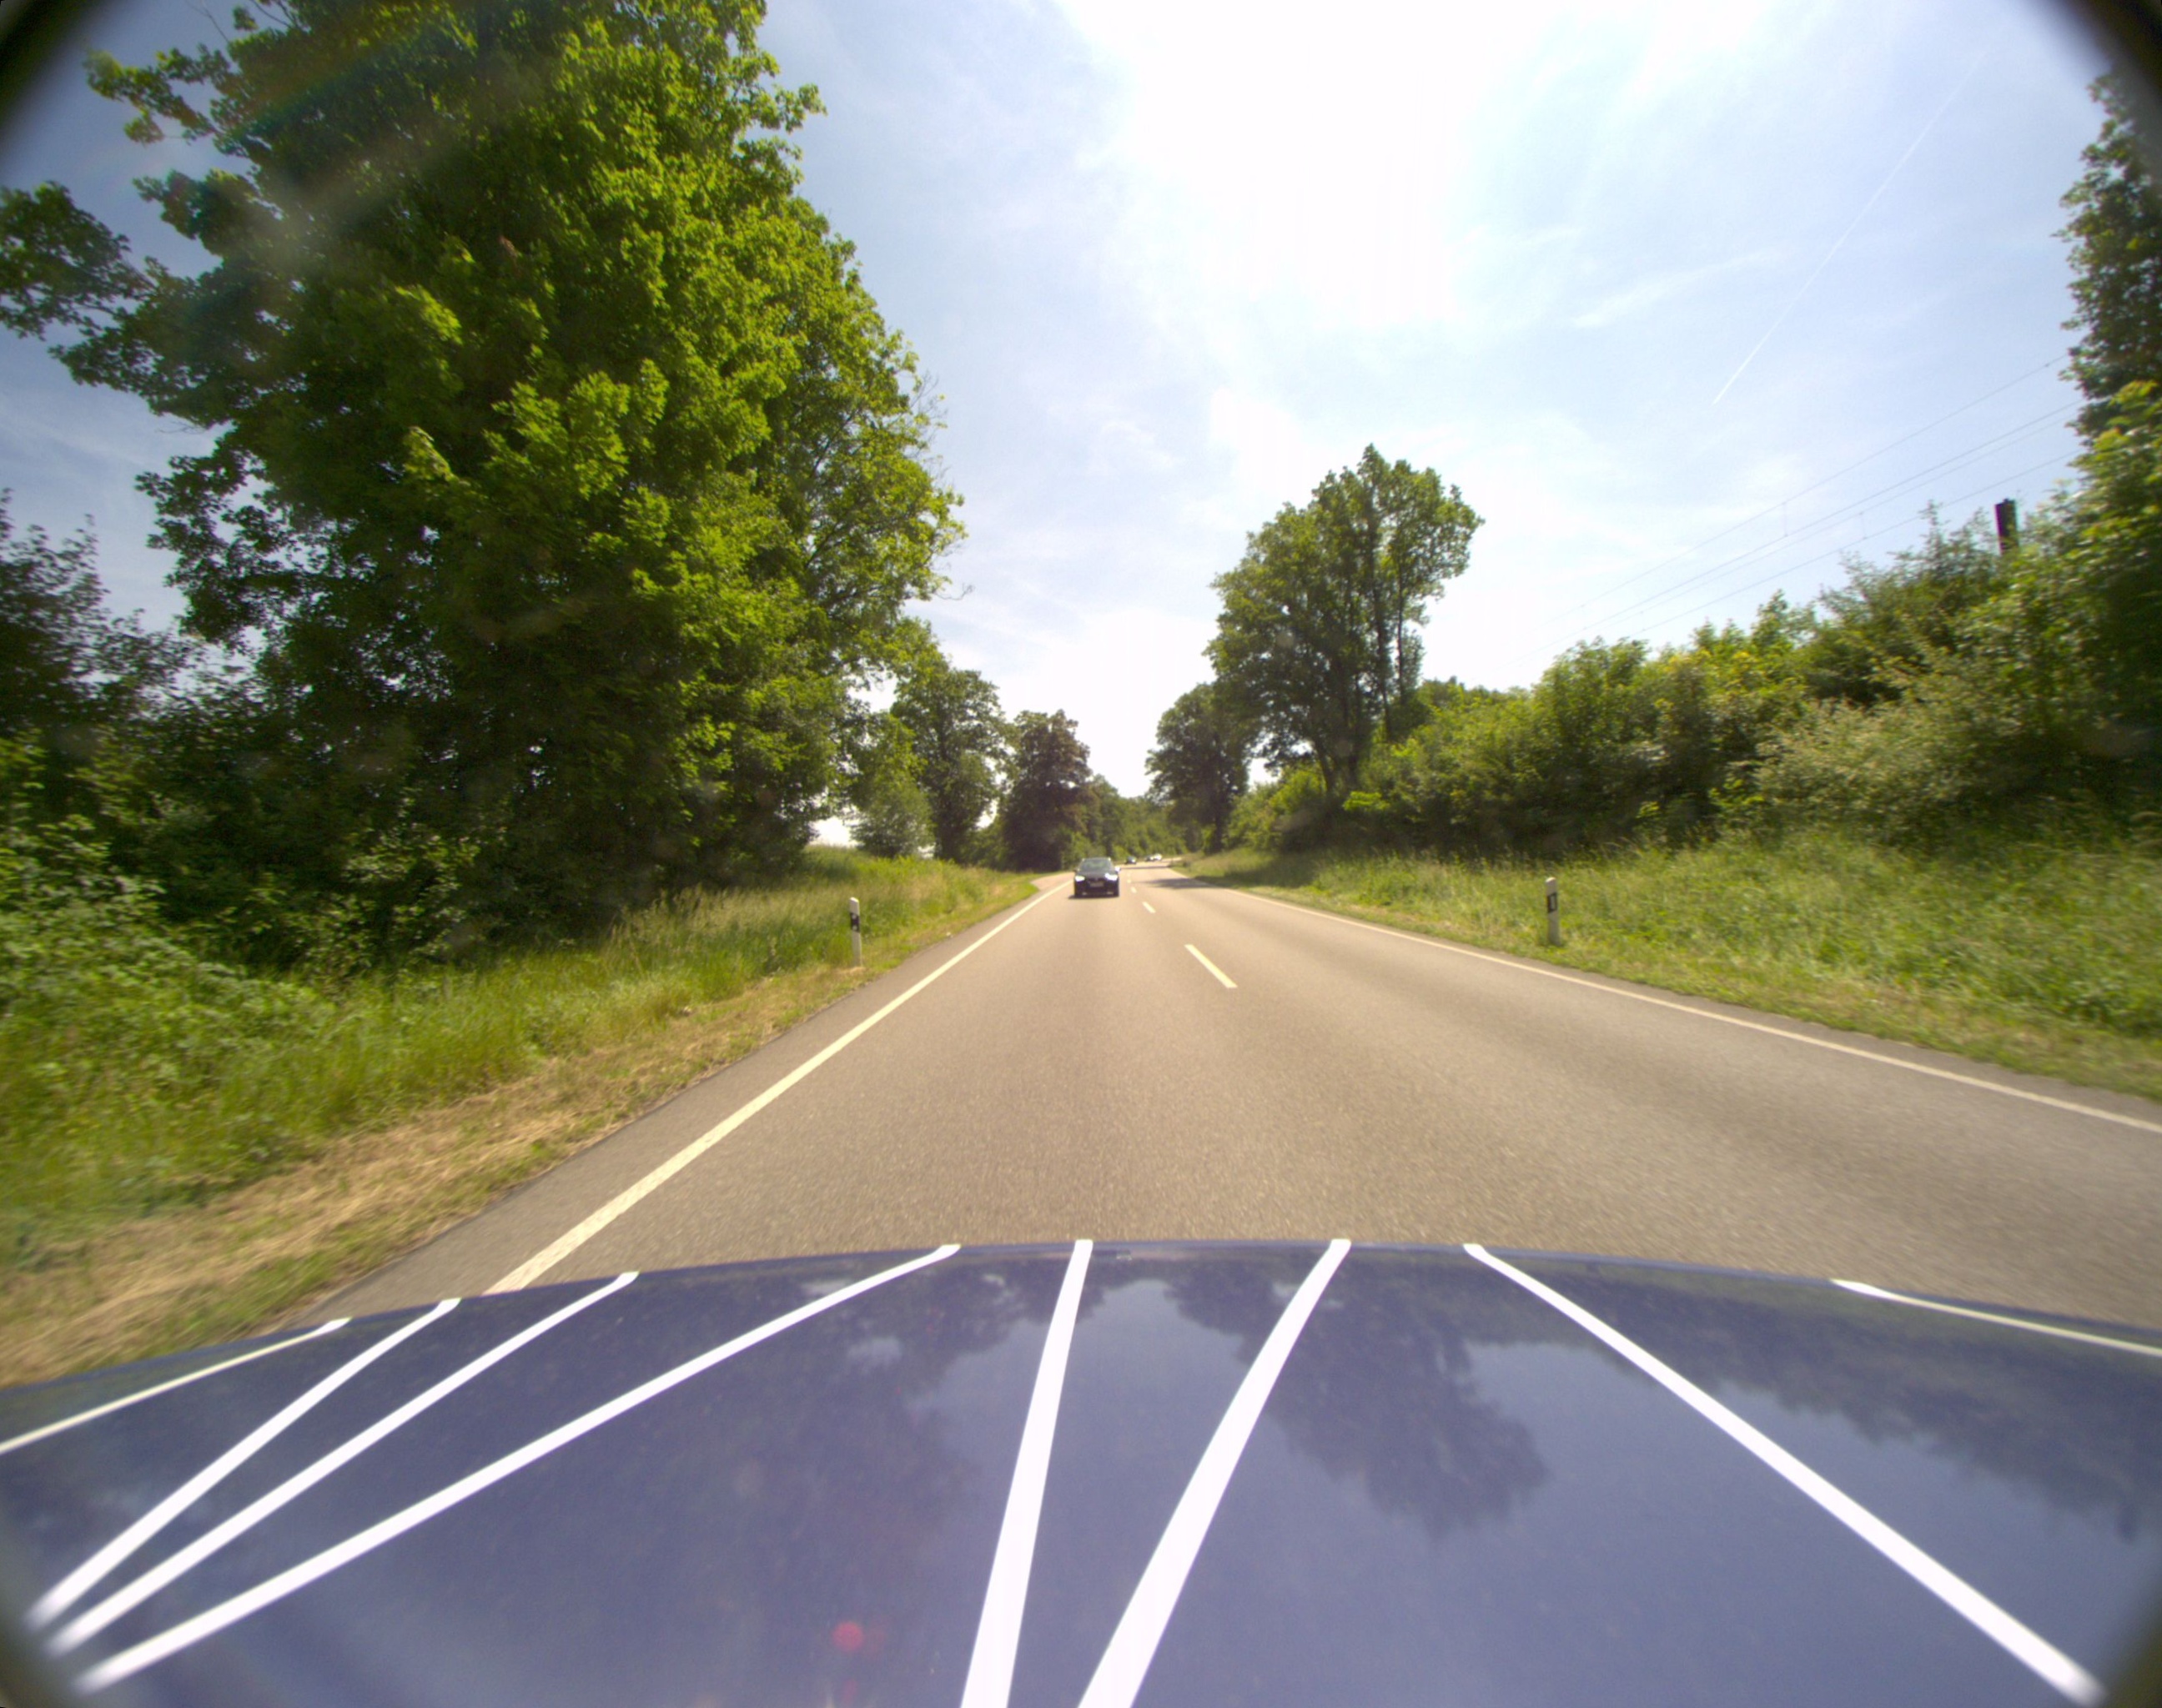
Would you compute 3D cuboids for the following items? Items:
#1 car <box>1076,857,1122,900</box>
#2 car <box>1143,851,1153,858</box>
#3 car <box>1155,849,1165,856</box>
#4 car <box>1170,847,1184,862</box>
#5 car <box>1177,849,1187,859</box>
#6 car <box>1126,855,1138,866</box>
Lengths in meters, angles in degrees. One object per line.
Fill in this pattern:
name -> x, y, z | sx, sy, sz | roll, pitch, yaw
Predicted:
car -> 0.745, 0.913, 30.137 | 1.661, 1.531, 3.487 | -2, 0, 3
car -> 14.130, 0.102, 160.123 | 1.810, 1.580, 4.003 | -2, 0, 10
car -> 18.433, -0.345, 176.541 | 1.810, 1.580, 4.004 | -2, 0, 13
car -> 14.009, 0.084, 111.012 | 1.997, 2.002, 4.002 | -2, 0, 7
car -> 21.271, 0.071, 160.202 | 1.997, 2.002, 4.002 | -2, 0, 9
car -> 8.571, 1.075, 126.945 | 1.811, 1.580, 4.002 | -2, 0, 7
